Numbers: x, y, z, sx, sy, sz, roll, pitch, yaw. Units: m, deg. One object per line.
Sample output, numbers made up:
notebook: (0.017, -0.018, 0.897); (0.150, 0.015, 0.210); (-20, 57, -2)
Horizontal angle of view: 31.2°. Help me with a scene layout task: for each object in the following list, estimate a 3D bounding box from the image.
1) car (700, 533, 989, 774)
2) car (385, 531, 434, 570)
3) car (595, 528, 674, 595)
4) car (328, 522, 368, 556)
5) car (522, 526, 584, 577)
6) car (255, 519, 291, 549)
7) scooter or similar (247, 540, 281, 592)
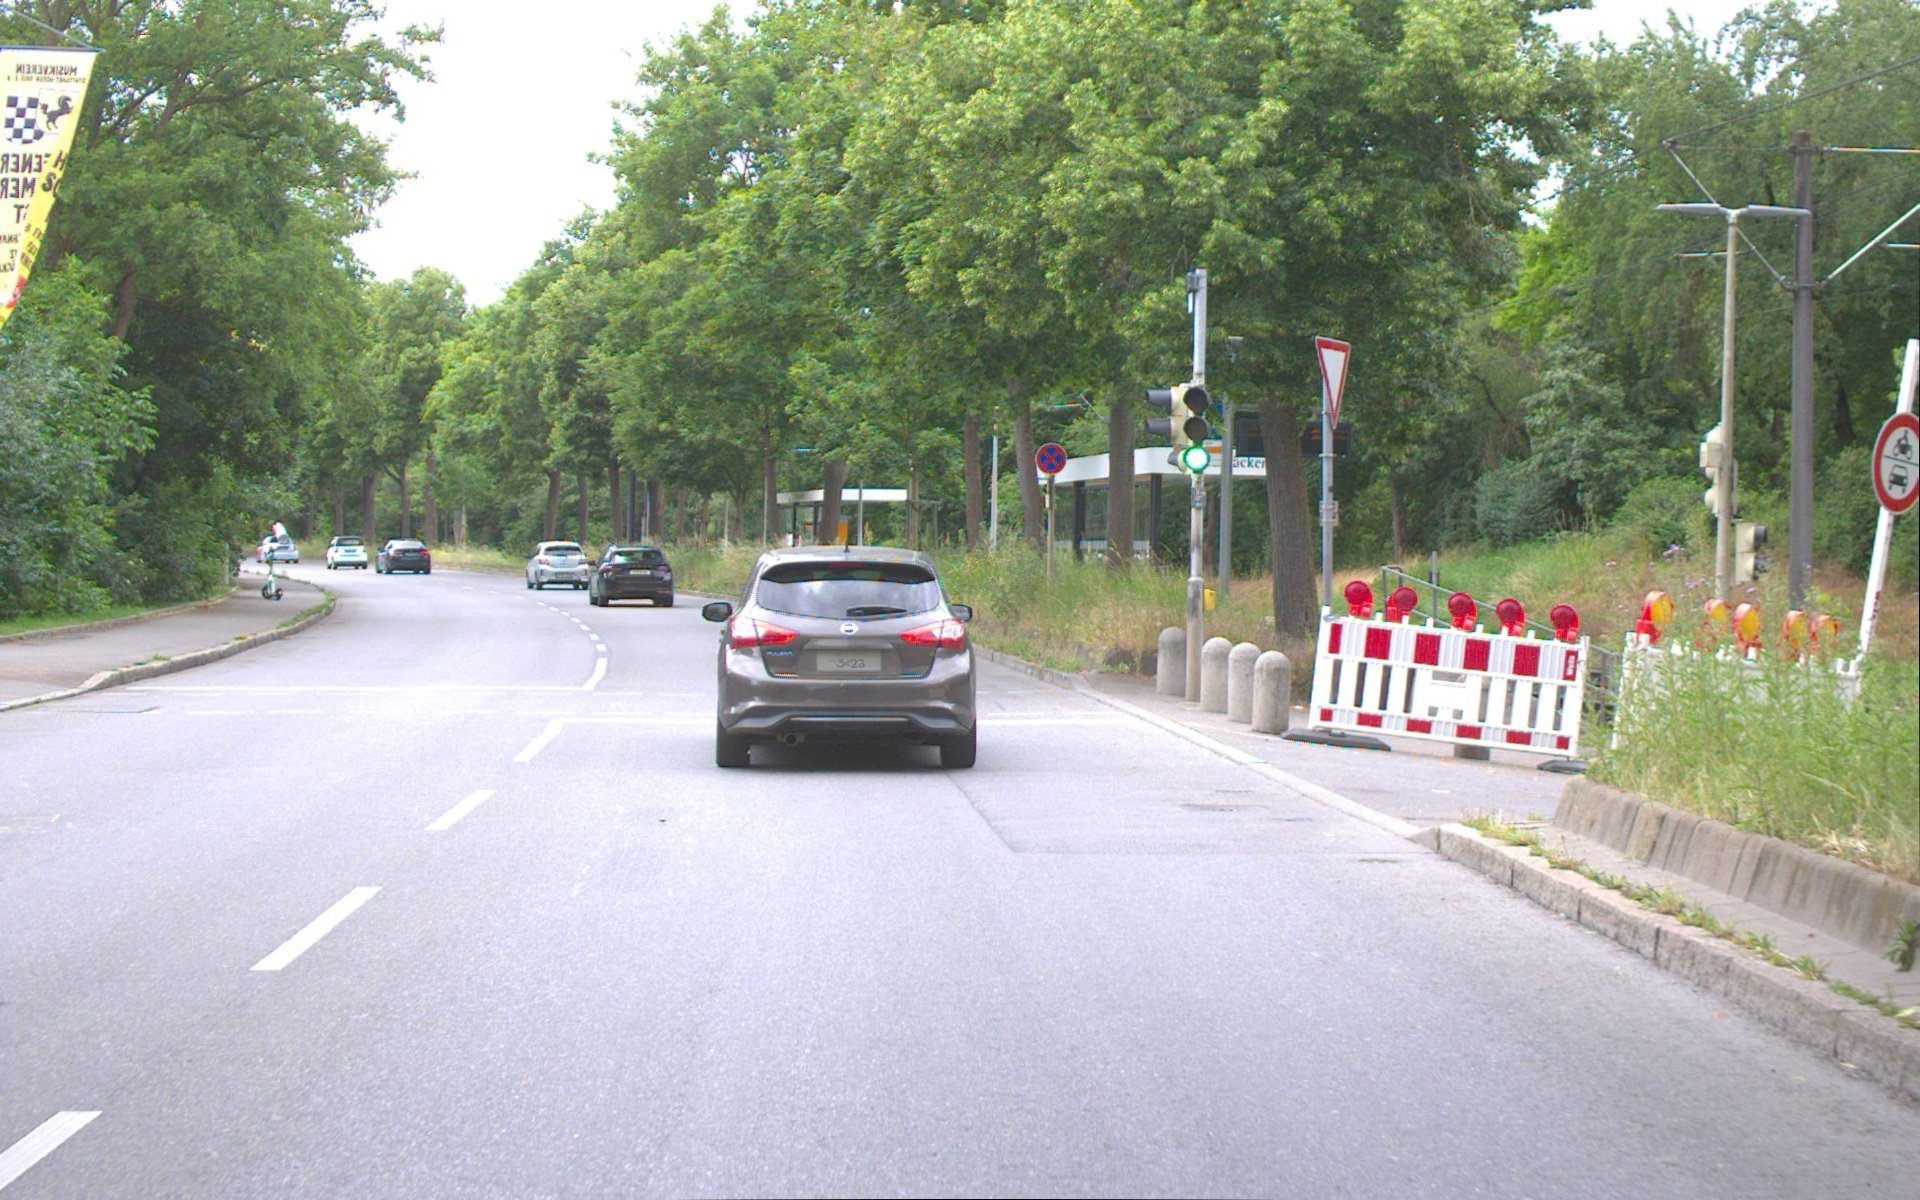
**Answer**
car: (-0.907, 0.314, 24.538); (1.816, 1.503, 4.001); (0, 2, -5)
car: (-23.237, -2.087, 144.987); (1.775, 1.467, 4.001); (4, 1, -12)
car: (-7.768, -0.939, 81.982); (1.775, 1.467, 4.001); (3, 1, -6)
car: (-28.638, -2.869, 160.890); (1.775, 1.467, 4.001); (2, 2, -9)
car: (-12.605, -1.518, 106.602); (1.775, 1.467, 4.001); (3, 1, -6)
car: (-36.121, -3.484, 180.905); (1.775, 1.467, 4.001); (3, 1, -11)
scooter or similar: (-16.301, -0.807, 80.533); (0.364, 1.180, 1.298); (2, 1, -29)
